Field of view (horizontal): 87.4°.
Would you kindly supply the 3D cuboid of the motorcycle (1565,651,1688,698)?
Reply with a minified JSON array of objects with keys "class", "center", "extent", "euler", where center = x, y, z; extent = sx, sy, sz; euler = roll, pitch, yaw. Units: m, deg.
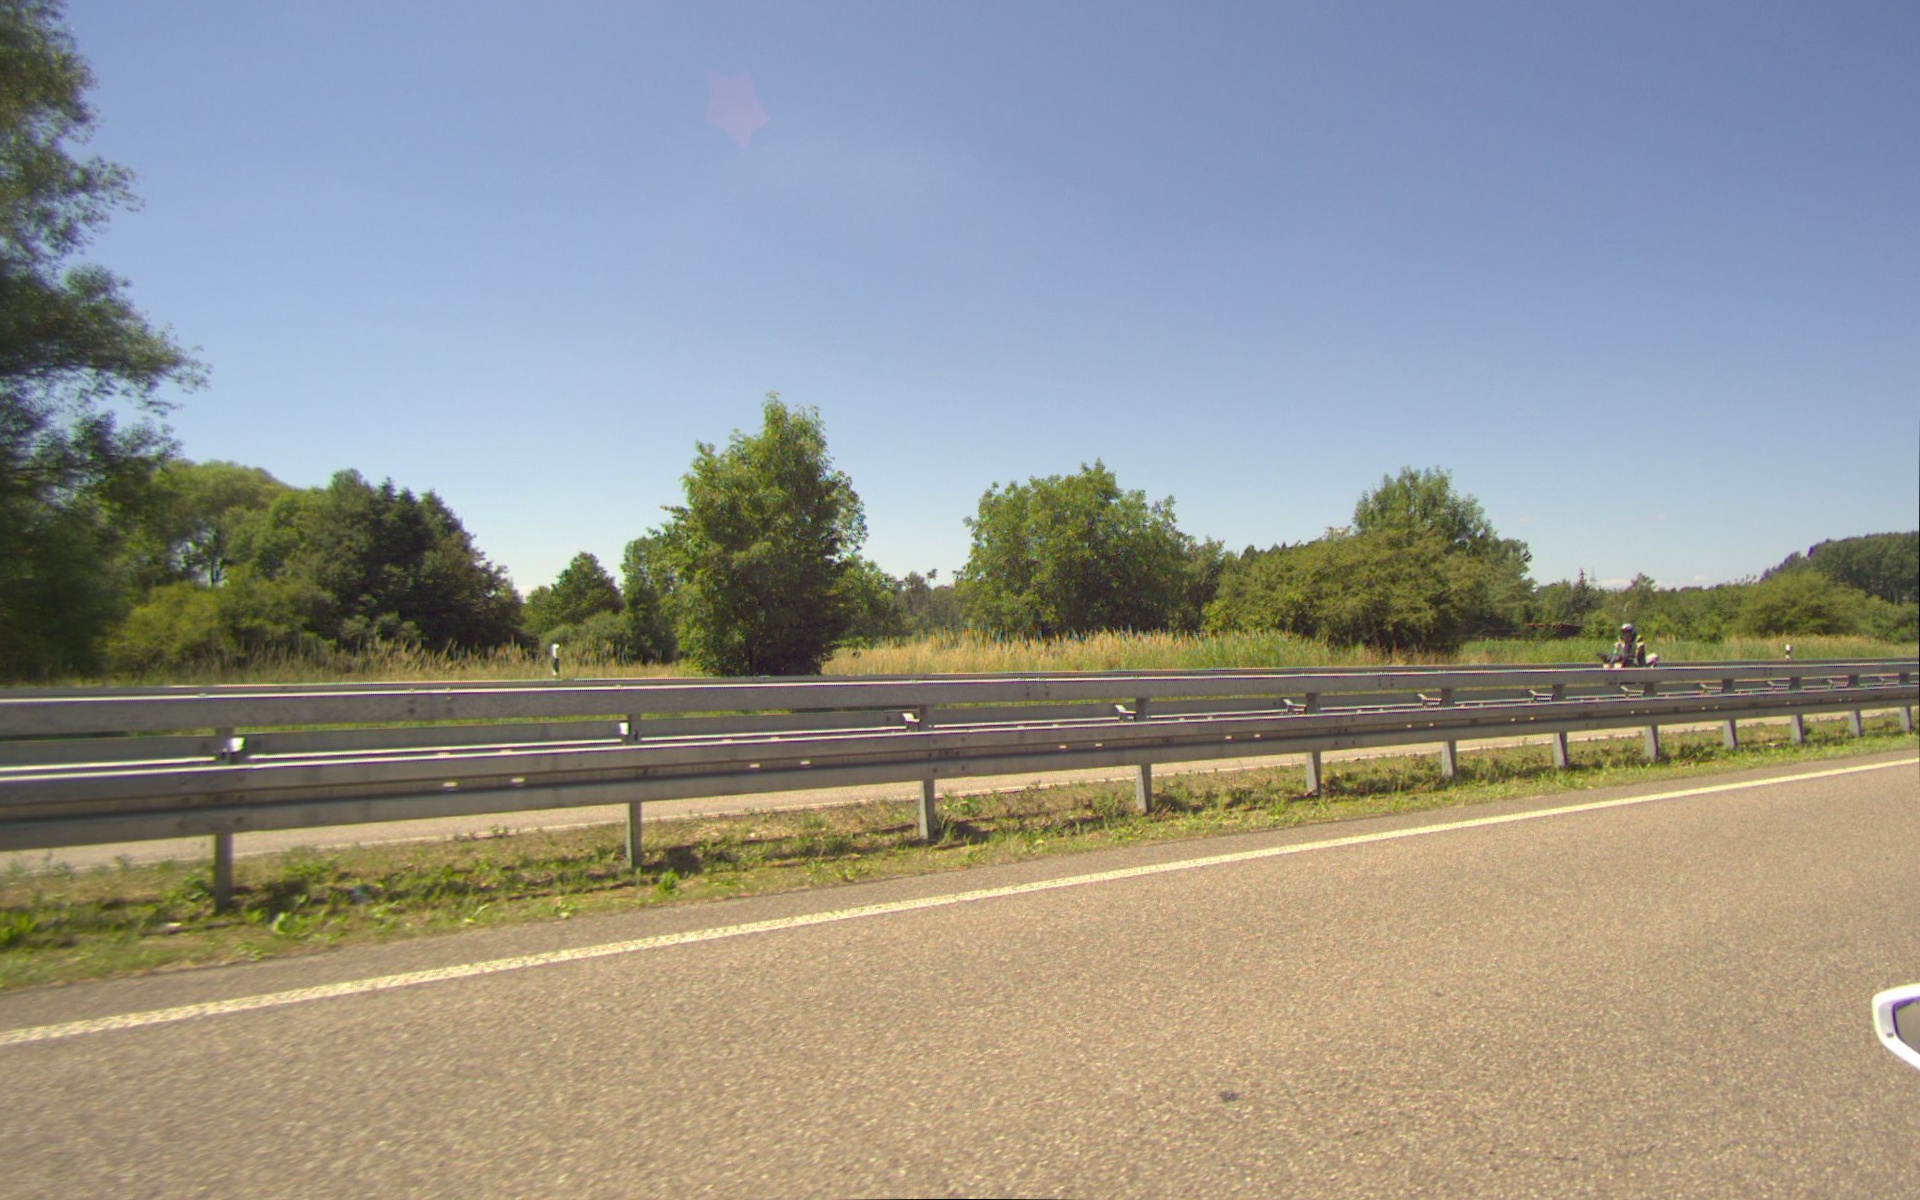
[{"class":"motorcycle","center":[16.967,1.860,25.529],"extent":[3.773,1.078,1.058],"euler":[1,-2,-31]}]

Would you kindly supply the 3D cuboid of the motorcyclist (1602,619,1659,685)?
[{"class":"motorcyclist","center":[17.085,1.321,25.613],"extent":[0.800,1.638,0.940],"euler":[1,-2,-31]}]
